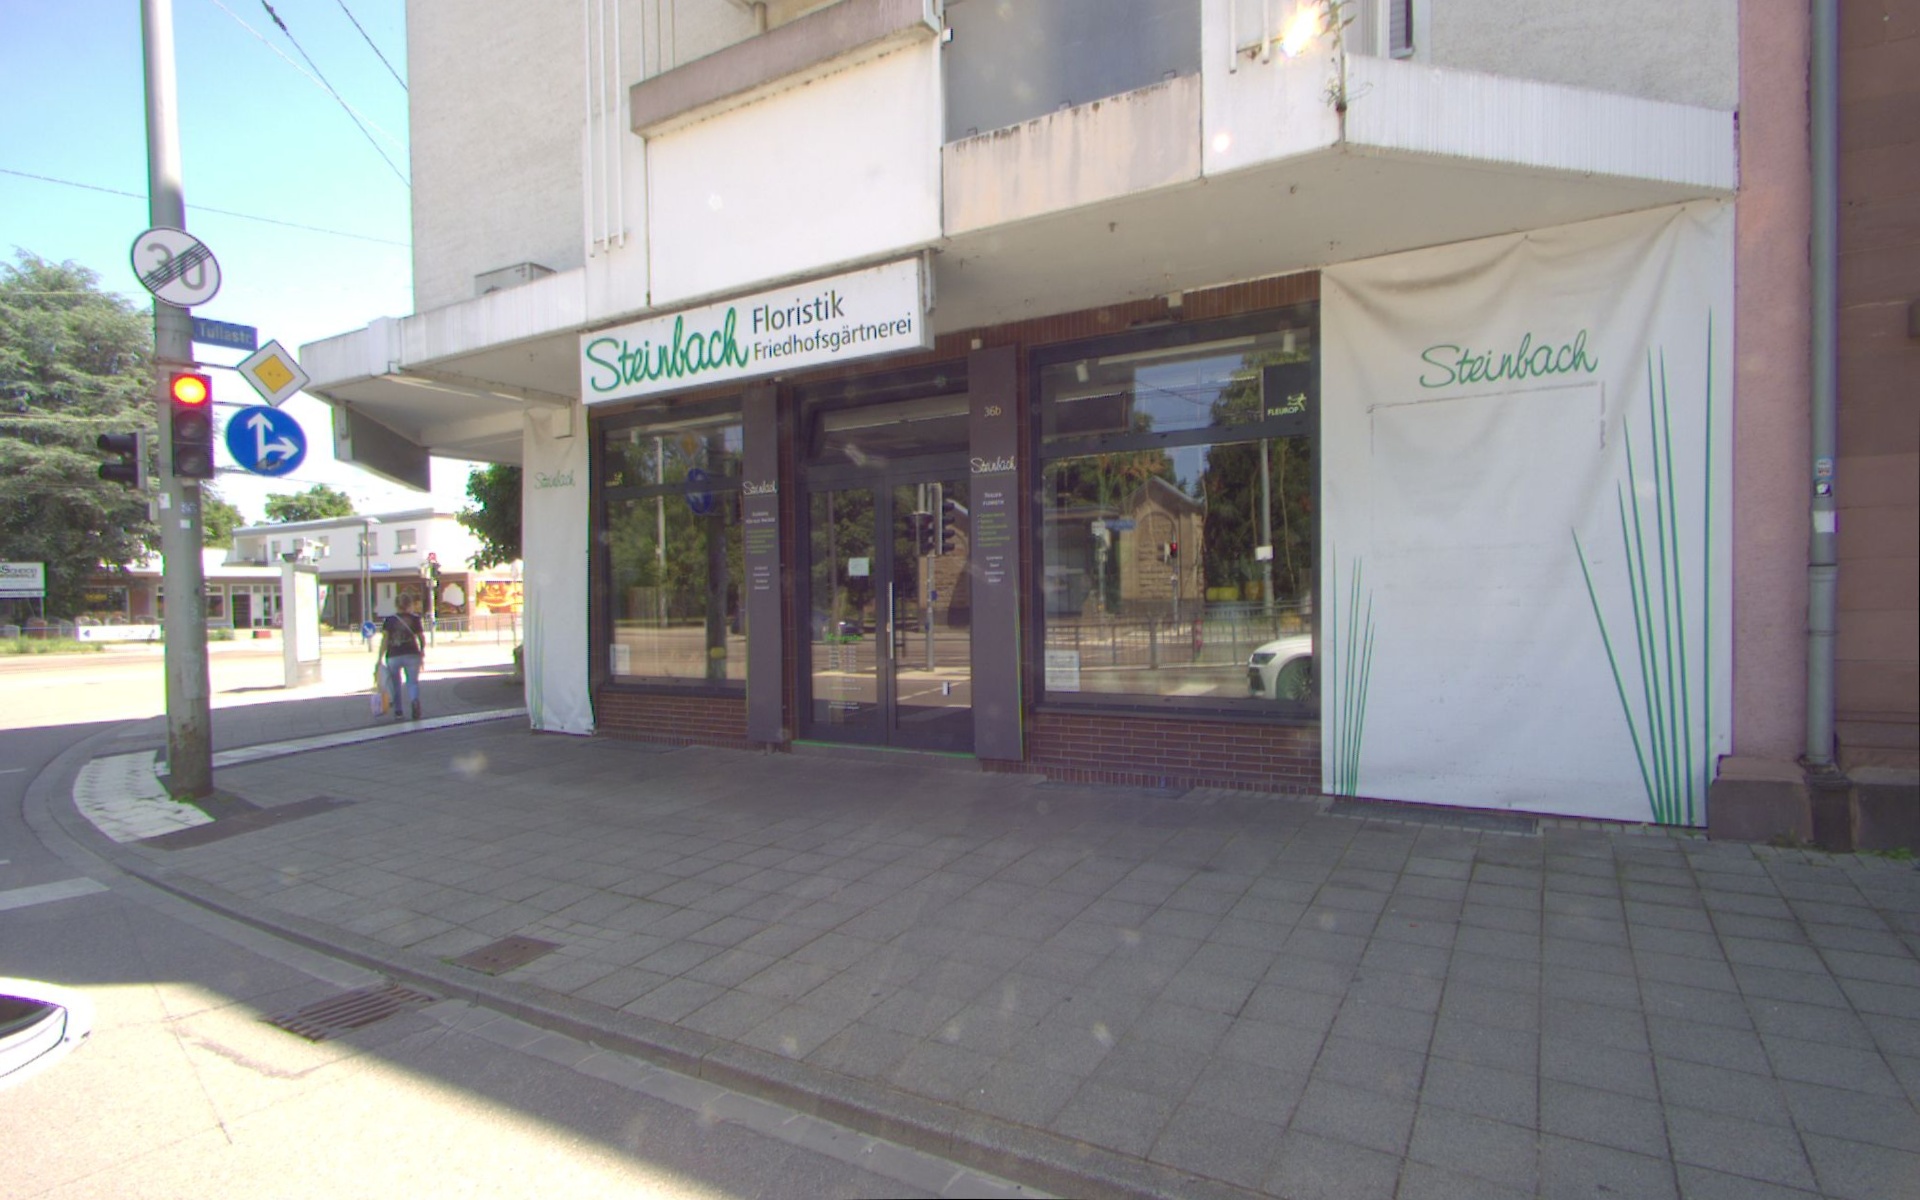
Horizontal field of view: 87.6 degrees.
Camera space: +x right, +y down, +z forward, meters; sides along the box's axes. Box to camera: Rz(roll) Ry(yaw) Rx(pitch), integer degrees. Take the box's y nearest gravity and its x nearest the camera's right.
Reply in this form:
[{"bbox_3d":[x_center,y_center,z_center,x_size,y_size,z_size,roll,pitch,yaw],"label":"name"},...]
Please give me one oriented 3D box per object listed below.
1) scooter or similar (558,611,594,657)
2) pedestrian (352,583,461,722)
[{"bbox_3d":[-10.473,0.911,27.333,0.387,1.229,1.255,0,0,5],"label":"scooter or similar"},{"bbox_3d":[-6.852,0.622,12.409,0.816,1.606,0.822,0,4,38],"label":"pedestrian"}]
